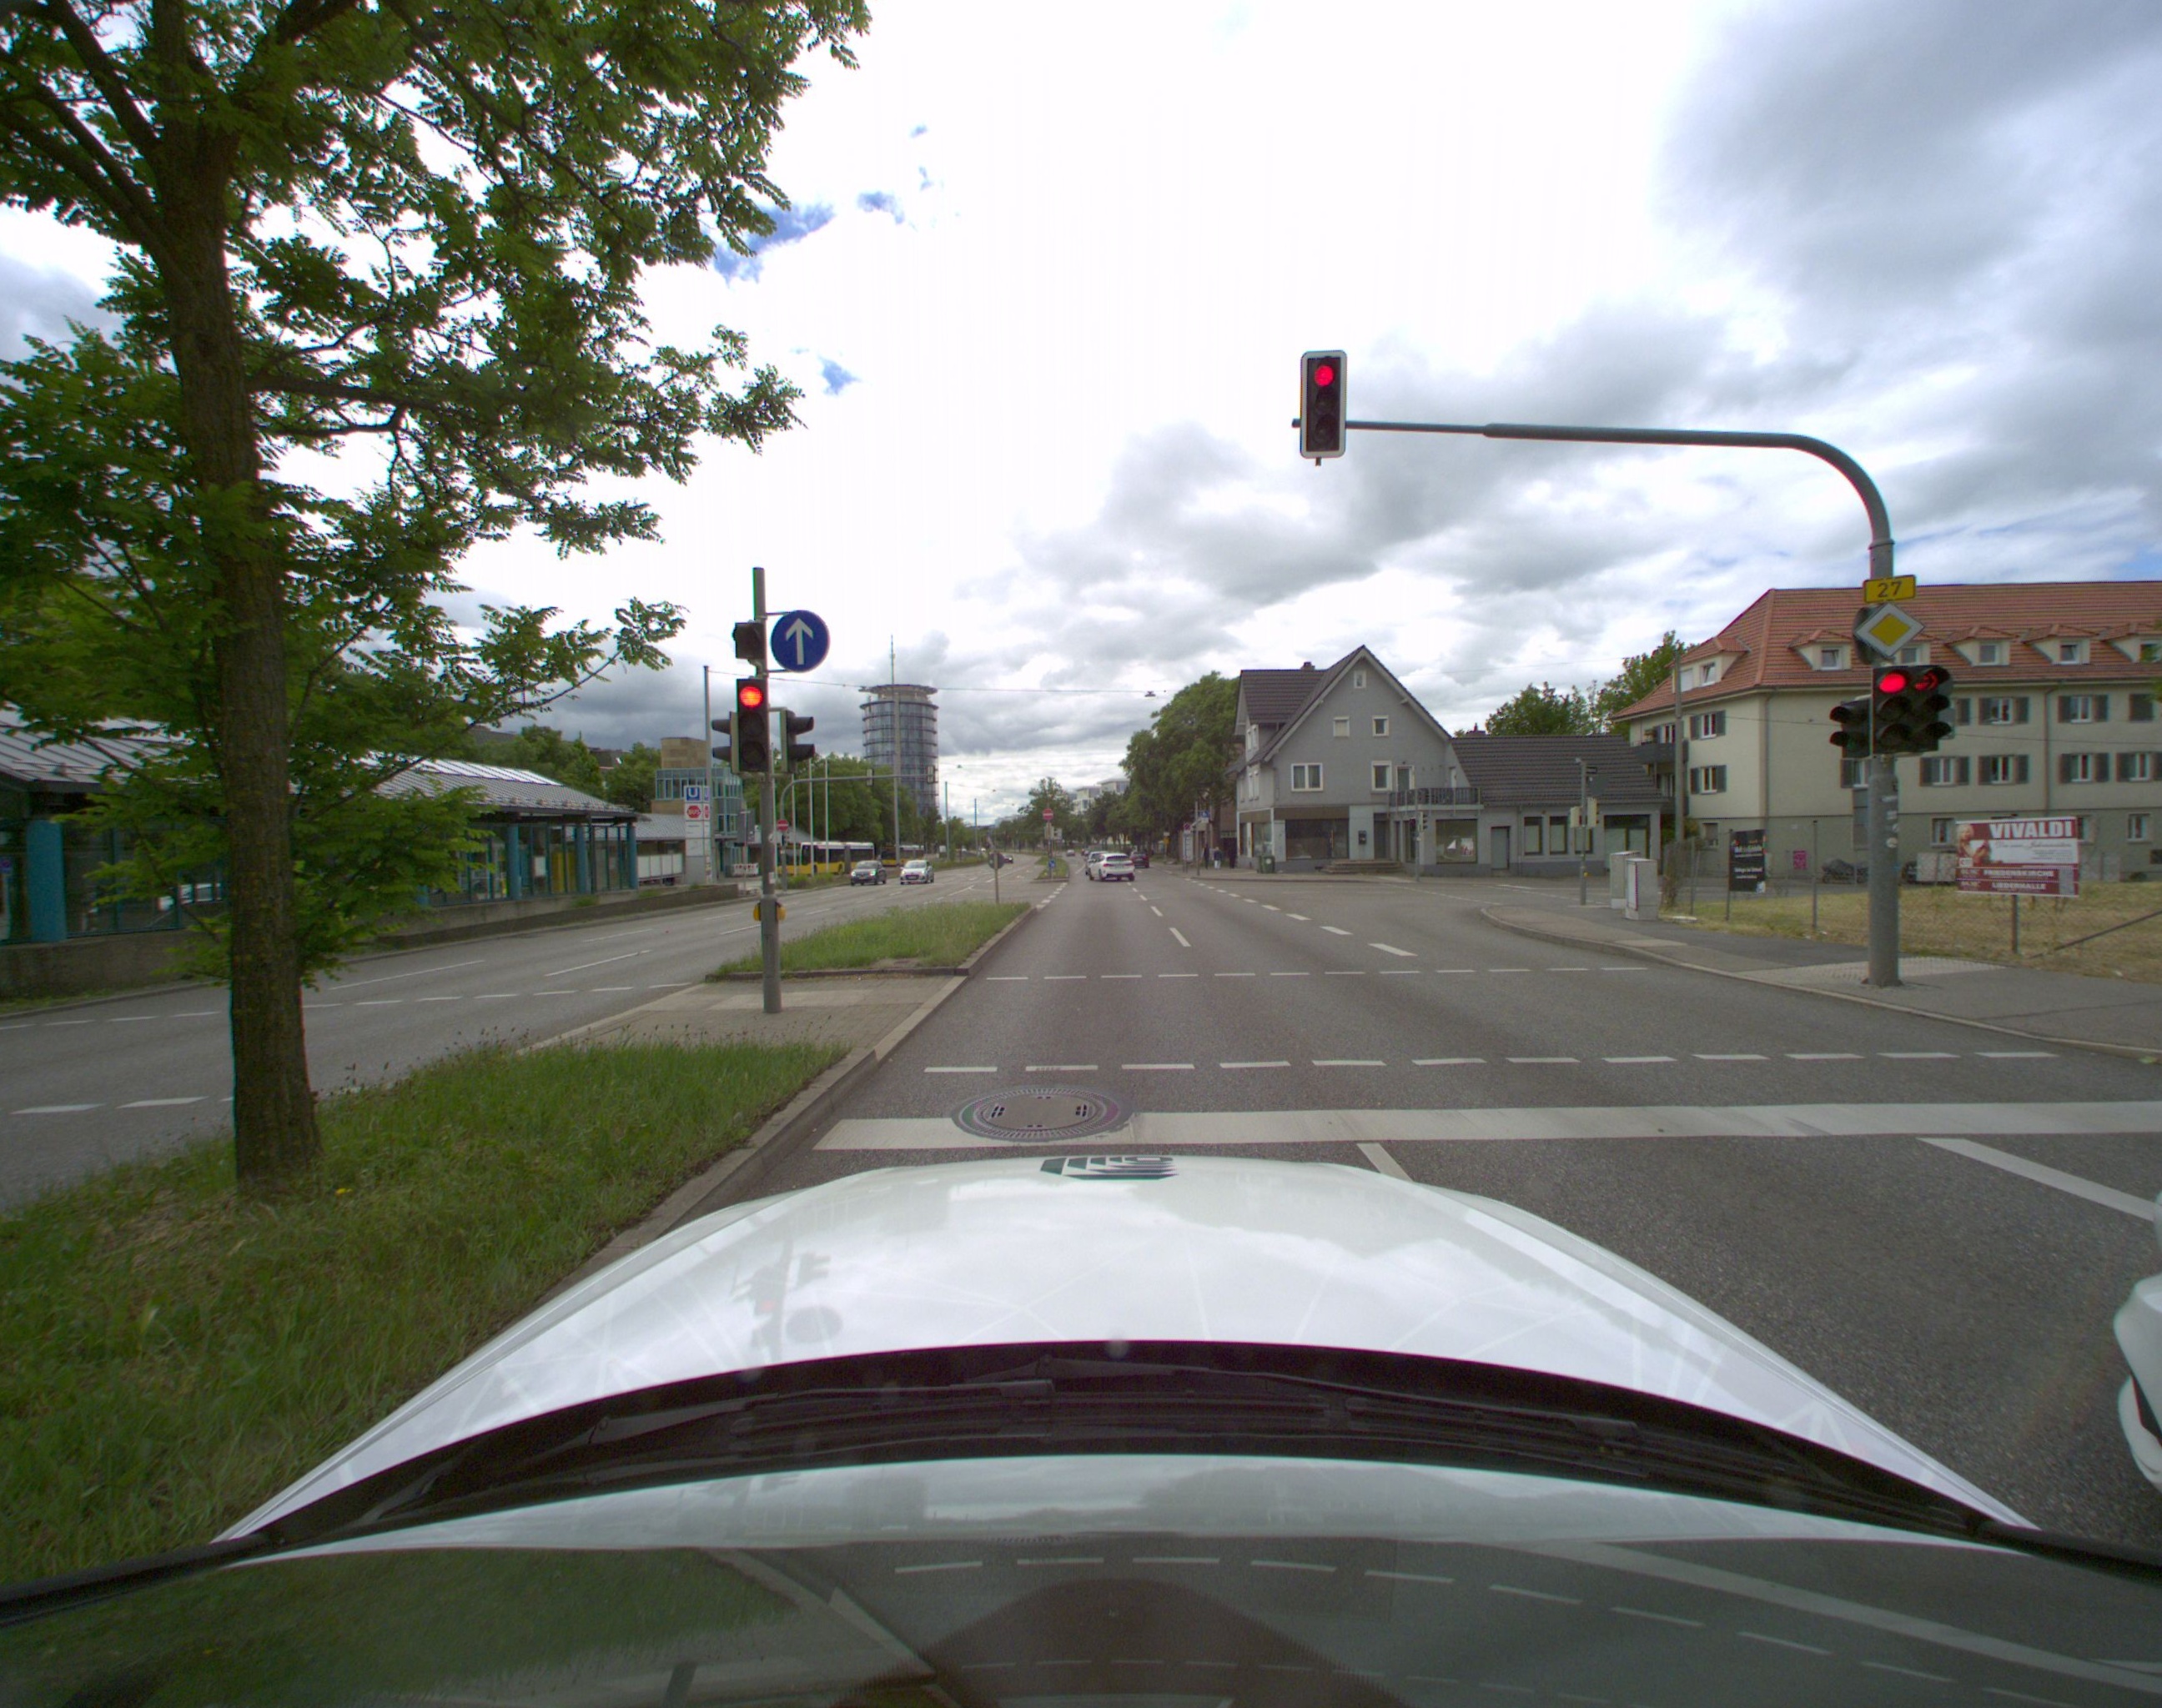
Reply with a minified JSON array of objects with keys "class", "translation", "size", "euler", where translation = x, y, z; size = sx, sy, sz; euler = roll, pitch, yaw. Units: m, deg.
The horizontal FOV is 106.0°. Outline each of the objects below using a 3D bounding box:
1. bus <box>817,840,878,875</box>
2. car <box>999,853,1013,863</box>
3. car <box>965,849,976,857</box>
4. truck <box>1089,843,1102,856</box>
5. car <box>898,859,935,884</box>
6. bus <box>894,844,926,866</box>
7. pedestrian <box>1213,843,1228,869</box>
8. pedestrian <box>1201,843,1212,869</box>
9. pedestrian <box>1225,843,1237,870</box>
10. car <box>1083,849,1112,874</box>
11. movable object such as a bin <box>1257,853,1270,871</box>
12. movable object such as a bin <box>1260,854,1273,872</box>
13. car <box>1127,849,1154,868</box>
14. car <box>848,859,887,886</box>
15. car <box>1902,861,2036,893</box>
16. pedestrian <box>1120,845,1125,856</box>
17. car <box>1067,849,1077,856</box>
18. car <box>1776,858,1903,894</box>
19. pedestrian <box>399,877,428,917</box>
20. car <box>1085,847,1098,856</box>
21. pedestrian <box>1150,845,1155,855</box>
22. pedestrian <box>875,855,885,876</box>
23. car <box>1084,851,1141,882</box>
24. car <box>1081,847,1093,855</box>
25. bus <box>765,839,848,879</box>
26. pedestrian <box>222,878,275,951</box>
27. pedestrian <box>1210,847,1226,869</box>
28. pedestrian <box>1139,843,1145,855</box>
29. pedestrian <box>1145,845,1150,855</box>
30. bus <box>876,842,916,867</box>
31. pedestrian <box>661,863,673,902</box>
[{"class":"bus","translation":[-23.346,0.367,81.880],"size":[2.975,3.270,7.889],"euler":[-2,0,6]},{"class":"car","translation":[-11.638,0.657,126.295],"size":[1.696,1.492,3.563],"euler":[-2,0,1]},{"class":"car","translation":[-27.251,-0.187,201.230],"size":[1.958,2.014,4.001],"euler":[0,-1,2]},{"class":"truck","translation":[2.762,-0.828,156.683],"size":[2.246,2.416,4.928],"euler":[-1,0,-3]},{"class":"car","translation":[-10.334,1.056,51.335],"size":[1.680,1.462,3.552],"euler":[-2,0,-3]},{"class":"bus","translation":[-26.030,0.116,124.339],"size":[3.134,3.225,7.765],"euler":[-2,0,0]},{"class":"pedestrian","translation":[9.987,0.134,58.260],"size":[0.698,1.780,0.876],"euler":[-2,0,33]},{"class":"pedestrian","translation":[8.632,0.126,56.108],"size":[0.701,1.780,0.872],"euler":[-2,0,7]},{"class":"pedestrian","translation":[10.124,0.147,54.924],"size":[0.701,1.760,1.055],"euler":[-2,0,10]},{"class":"car","translation":[1.116,0.503,55.045],"size":[1.816,1.540,4.114],"euler":[-2,0,1]},{"class":"movable object such as a bin","translation":[10.042,0.435,44.760],"size":[0.527,0.979,0.737],"euler":[-2,0,2]},{"class":"movable object such as a bin","translation":[10.037,0.476,43.969],"size":[0.527,0.979,0.737],"euler":[-2,0,2]},{"class":"car","translation":[5.095,0.372,70.239],"size":[1.883,1.494,4.097],"euler":[-3,-1,-1]},{"class":"car","translation":[-13.487,1.147,51.546],"size":[1.681,1.578,3.344],"euler":[-2,0,-4]},{"class":"car","translation":[39.817,1.022,36.589],"size":[3.972,1.377,1.871],"euler":[0,0,2]},{"class":"pedestrian","translation":[8.734,-0.804,172.537],"size":[0.930,2.308,1.008],"euler":[0,-1,-8]},{"class":"car","translation":[-1.903,-0.368,173.485],"size":[1.963,1.420,4.017],"euler":[-2,0,-3]},{"class":"car","translation":[34.047,0.985,36.627],"size":[3.972,1.537,1.871],"euler":[0,0,2]},{"class":"pedestrian","translation":[-27.048,1.737,33.023],"size":[0.633,1.571,0.660],"euler":[0,-1,-5]},{"class":"car","translation":[2.105,-0.485,165.297],"size":[2.246,1.757,4.928],"euler":[-2,0,-3]},{"class":"pedestrian","translation":[11.493,-0.628,130.298],"size":[0.649,1.570,0.669],"euler":[-2,0,-6]},{"class":"pedestrian","translation":[-18.309,1.069,74.273],"size":[0.658,1.897,0.686],"euler":[-2,0,3]},{"class":"car","translation":[1.616,0.635,43.554],"size":[1.996,1.477,4.238],"euler":[-2,1,-13]},{"class":"car","translation":[1.297,-0.570,174.119],"size":[2.246,1.647,4.927],"euler":[-2,0,-3]},{"class":"bus","translation":[-24.318,0.401,72.881],"size":[2.975,3.250,10.186],"euler":[-2,0,6]},{"class":"pedestrian","translation":[-20.705,1.487,20.271],"size":[0.529,1.762,0.753],"euler":[-2,0,-9]},{"class":"pedestrian","translation":[9.347,0.259,55.488],"size":[0.698,1.507,0.876],"euler":[-2,0,33]},{"class":"pedestrian","translation":[10.845,-0.852,144.399],"size":[0.967,2.014,0.981],"euler":[0,-1,1]},{"class":"pedestrian","translation":[10.688,-0.614,130.260],"size":[0.649,1.570,0.669],"euler":[-2,0,-6]},{"class":"bus","translation":[-26.088,0.091,115.330],"size":[3.135,3.225,10.282],"euler":[-2,0,0]},{"class":"pedestrian","translation":[-17.252,1.176,33.944],"size":[0.420,1.591,0.353],"euler":[-2,0,-28]}]
